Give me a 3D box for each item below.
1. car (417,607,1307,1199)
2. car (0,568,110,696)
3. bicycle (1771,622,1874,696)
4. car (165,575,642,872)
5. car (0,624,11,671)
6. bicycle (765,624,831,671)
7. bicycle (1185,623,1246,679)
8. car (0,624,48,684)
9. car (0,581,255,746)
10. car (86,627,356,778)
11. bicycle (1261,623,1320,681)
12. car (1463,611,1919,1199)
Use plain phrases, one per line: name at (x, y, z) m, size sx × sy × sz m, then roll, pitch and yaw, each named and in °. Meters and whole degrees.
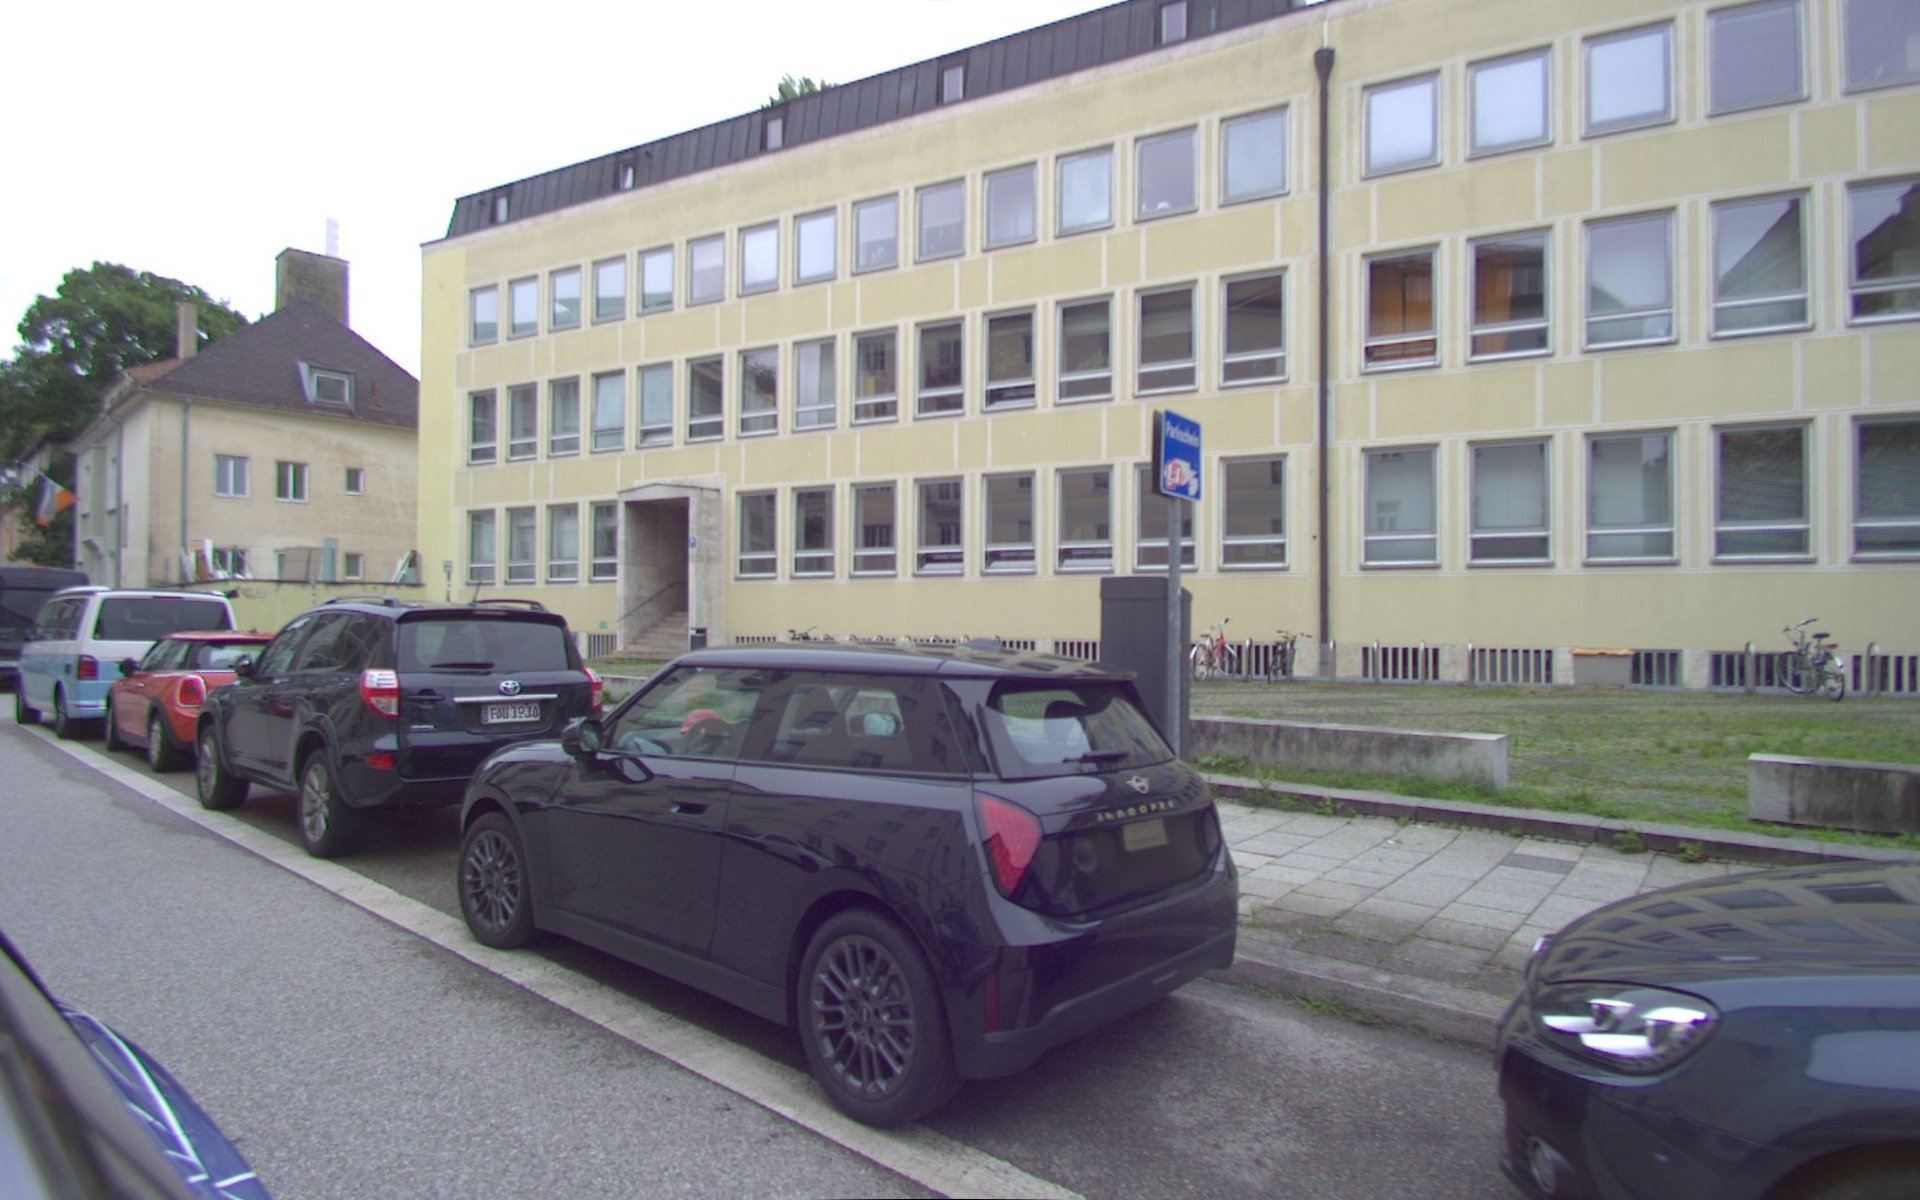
car at (-0.694, 0.819, 4.432) m, size 3.867 × 1.465 × 1.663 m, roll -1°, pitch -3°, yaw 41°
car at (-21.749, 0.742, 23.562) m, size 5.653 × 2.666 × 2.272 m, roll -1°, pitch -3°, yaw 43°
bicycle at (12.875, 0.851, 15.169) m, size 0.622 × 1.022 × 1.937 m, roll -1°, pitch -1°, yaw 24°
car at (-4.498, 0.789, 7.855) m, size 4.446 × 1.679 × 1.725 m, roll -1°, pitch -5°, yaw 41°
car at (-33.688, 1.576, 34.390) m, size 4.644 × 1.511 × 1.793 m, roll -1°, pitch -2°, yaw 44°
bicycle at (-3.842, 1.112, 24.133) m, size 0.577 × 1.022 × 1.937 m, roll -1°, pitch 0°, yaw 24°
bicycle at (5.047, 0.972, 19.888) m, size 0.623 × 1.022 × 1.932 m, roll -1°, pitch -1°, yaw 31°
car at (-25.769, 1.408, 26.878) m, size 3.484 × 1.505 × 1.685 m, roll -1°, pitch -1°, yaw 37°
car at (-12.172, 0.828, 14.613) m, size 5.017 × 1.994 × 1.909 m, roll -1°, pitch -3°, yaw 39°
car at (-8.615, 1.036, 11.673) m, size 3.917 × 1.398 × 1.725 m, roll -1°, pitch -1°, yaw 42°
bicycle at (6.278, 0.950, 19.156) m, size 0.623 × 1.022 × 1.932 m, roll -1°, pitch -1°, yaw 31°
car at (3.068, 0.763, 1.439) m, size 3.969 × 1.465 × 1.640 m, roll -1°, pitch -3°, yaw 39°
